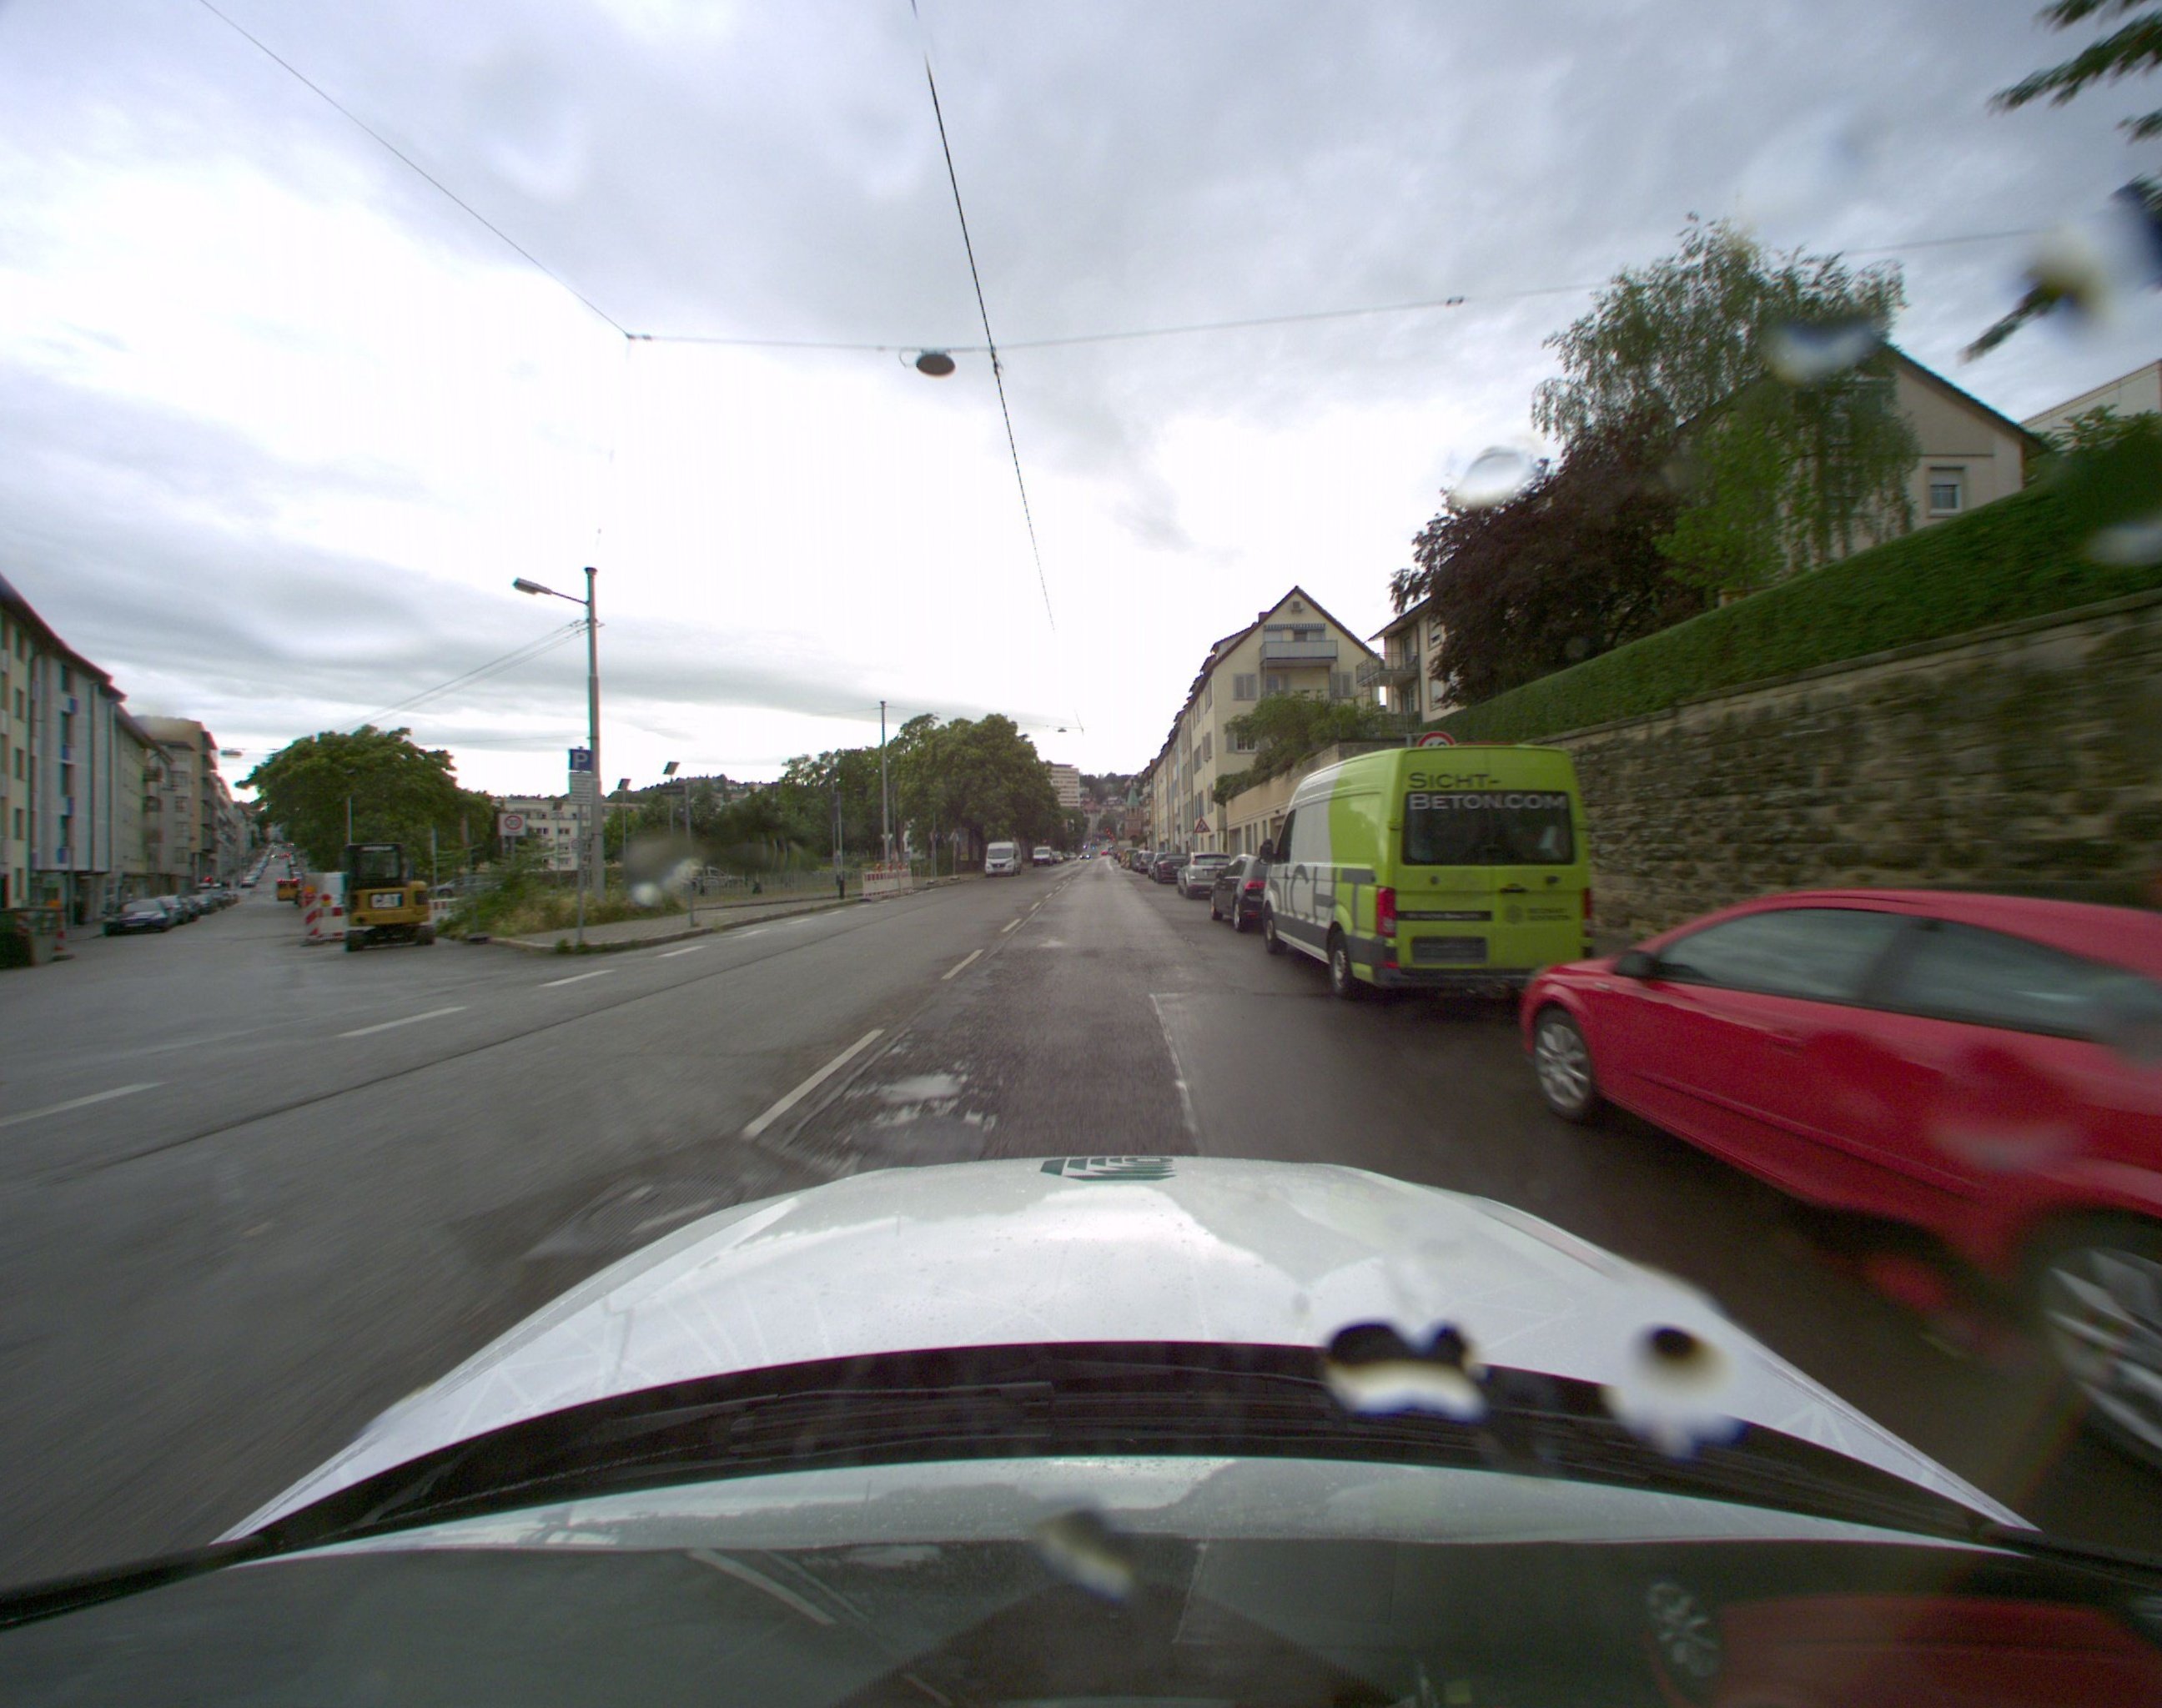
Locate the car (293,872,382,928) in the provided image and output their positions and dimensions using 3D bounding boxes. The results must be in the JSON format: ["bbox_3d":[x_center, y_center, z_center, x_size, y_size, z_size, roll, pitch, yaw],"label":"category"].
[{"bbox_3d":[-37.485,2.280,41.018,5.660,2.413,2.691,-3,1,42],"label":"car"}]

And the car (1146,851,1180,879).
[{"bbox_3d":[4.521,0.602,45.327,1.623,1.454,3.760,0,1,1],"label":"car"}]

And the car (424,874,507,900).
[{"bbox_3d":[-48.518,2.578,64.249,4.934,1.625,2.099,-3,-2,-44],"label":"car"}]

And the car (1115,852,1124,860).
[{"bbox_3d":[7.750,0.355,164.201,1.811,1.652,4.077,0,0,1],"label":"car"}]

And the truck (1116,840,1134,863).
[{"bbox_3d":[6.344,-0.408,118.145,2.460,3.172,7.039,-1,0,2],"label":"truck"}]

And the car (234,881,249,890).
[{"bbox_3d":[-152.637,5.720,148.125,3.949,1.510,1.811,-3,1,44],"label":"car"}]

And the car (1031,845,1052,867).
[{"bbox_3d":[-4.738,0.210,98.376,2.004,2.487,5.987,-2,0,2],"label":"car"}]

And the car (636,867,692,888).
[{"bbox_3d":[-37.184,2.086,72.659,1.777,1.625,4.025,-2,0,43],"label":"car"}]

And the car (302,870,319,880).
[{"bbox_3d":[-132.749,3.620,140.285,1.809,1.510,3.954,-2,0,-38],"label":"car"}]

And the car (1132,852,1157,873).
[{"bbox_3d":[4.892,0.619,62.872,1.710,1.524,4.001,0,1,1],"label":"car"}]

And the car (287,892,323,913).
[{"bbox_3d":[-61.941,3.848,64.989,3.949,1.510,1.811,-3,1,44],"label":"car"}]

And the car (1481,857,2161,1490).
[{"bbox_3d":[3.439,0.752,3.331,1.714,1.421,4.206,0,1,3],"label":"car"}]

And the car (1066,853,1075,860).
[{"bbox_3d":[-2.139,0.494,169.962,1.704,1.450,4.294,-2,-1,1],"label":"car"}]

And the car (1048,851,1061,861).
[{"bbox_3d":[-3.942,0.279,120.793,1.677,1.462,4.277,-2,0,1],"label":"car"}]

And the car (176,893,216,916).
[{"bbox_3d":[-66.180,3.790,60.942,3.949,1.510,1.811,-3,1,44],"label":"car"}]

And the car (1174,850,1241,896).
[{"bbox_3d":[4.202,0.656,27.687,1.682,1.454,4.235,0,-2,1],"label":"car"}]

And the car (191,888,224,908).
[{"bbox_3d":[-76.203,3.839,71.099,3.949,1.510,1.811,-3,1,44],"label":"car"}]

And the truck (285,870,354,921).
[{"bbox_3d":[-48.910,2.633,52.263,5.223,2.931,2.797,-3,1,44],"label":"truck"}]

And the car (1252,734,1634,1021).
[{"bbox_3d":[3.743,0.171,10.034,2.197,2.463,6.082,0,1,2],"label":"car"}]

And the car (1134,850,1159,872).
[{"bbox_3d":[4.582,0.476,57.418,1.553,1.454,3.760,0,1,1],"label":"car"}]

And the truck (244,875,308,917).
[{"bbox_3d":[-112.082,5.810,113.251,15.505,5.143,5.645,-3,1,44],"label":"truck"}]

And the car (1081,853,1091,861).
[{"bbox_3d":[1.019,0.616,163.321,1.800,1.415,4.381,-2,0,-1],"label":"car"}]

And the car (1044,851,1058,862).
[{"bbox_3d":[-4.108,0.306,113.454,1.677,1.398,3.910,-2,0,1],"label":"car"}]

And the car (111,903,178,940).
[{"bbox_3d":[-46.354,3.305,40.373,3.950,1.510,1.811,-3,1,45],"label":"car"}]

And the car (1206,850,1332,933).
[{"bbox_3d":[3.680,0.660,16.645,1.682,1.454,4.236,0,1,1],"label":"car"}]

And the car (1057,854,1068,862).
[{"bbox_3d":[-3.496,0.799,154.490,1.798,1.450,4.656,-2,-1,-1],"label":"car"}]

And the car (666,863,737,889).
[{"bbox_3d":[-30.401,1.744,65.360,1.975,1.834,4.722,-2,0,43],"label":"car"}]

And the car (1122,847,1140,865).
[{"bbox_3d":[5.664,0.195,92.253,1.810,1.924,4.241,-2,0,2],"label":"car"}]

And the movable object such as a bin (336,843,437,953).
[{"bbox_3d":[-17.648,1.014,20.878,1.679,2.459,5.228,-2,0,-38],"label":"movable object such as a bin"}]

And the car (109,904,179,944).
[{"bbox_3d":[-41.936,3.086,36.513,3.949,1.510,1.811,-3,1,44],"label":"car"}]

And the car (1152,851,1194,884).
[{"bbox_3d":[4.267,0.595,38.246,1.623,1.454,3.760,0,1,1],"label":"car"}]

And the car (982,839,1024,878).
[{"bbox_3d":[-5.650,0.267,59.598,2.222,2.578,6.538,-3,0,1],"label":"car"}]
